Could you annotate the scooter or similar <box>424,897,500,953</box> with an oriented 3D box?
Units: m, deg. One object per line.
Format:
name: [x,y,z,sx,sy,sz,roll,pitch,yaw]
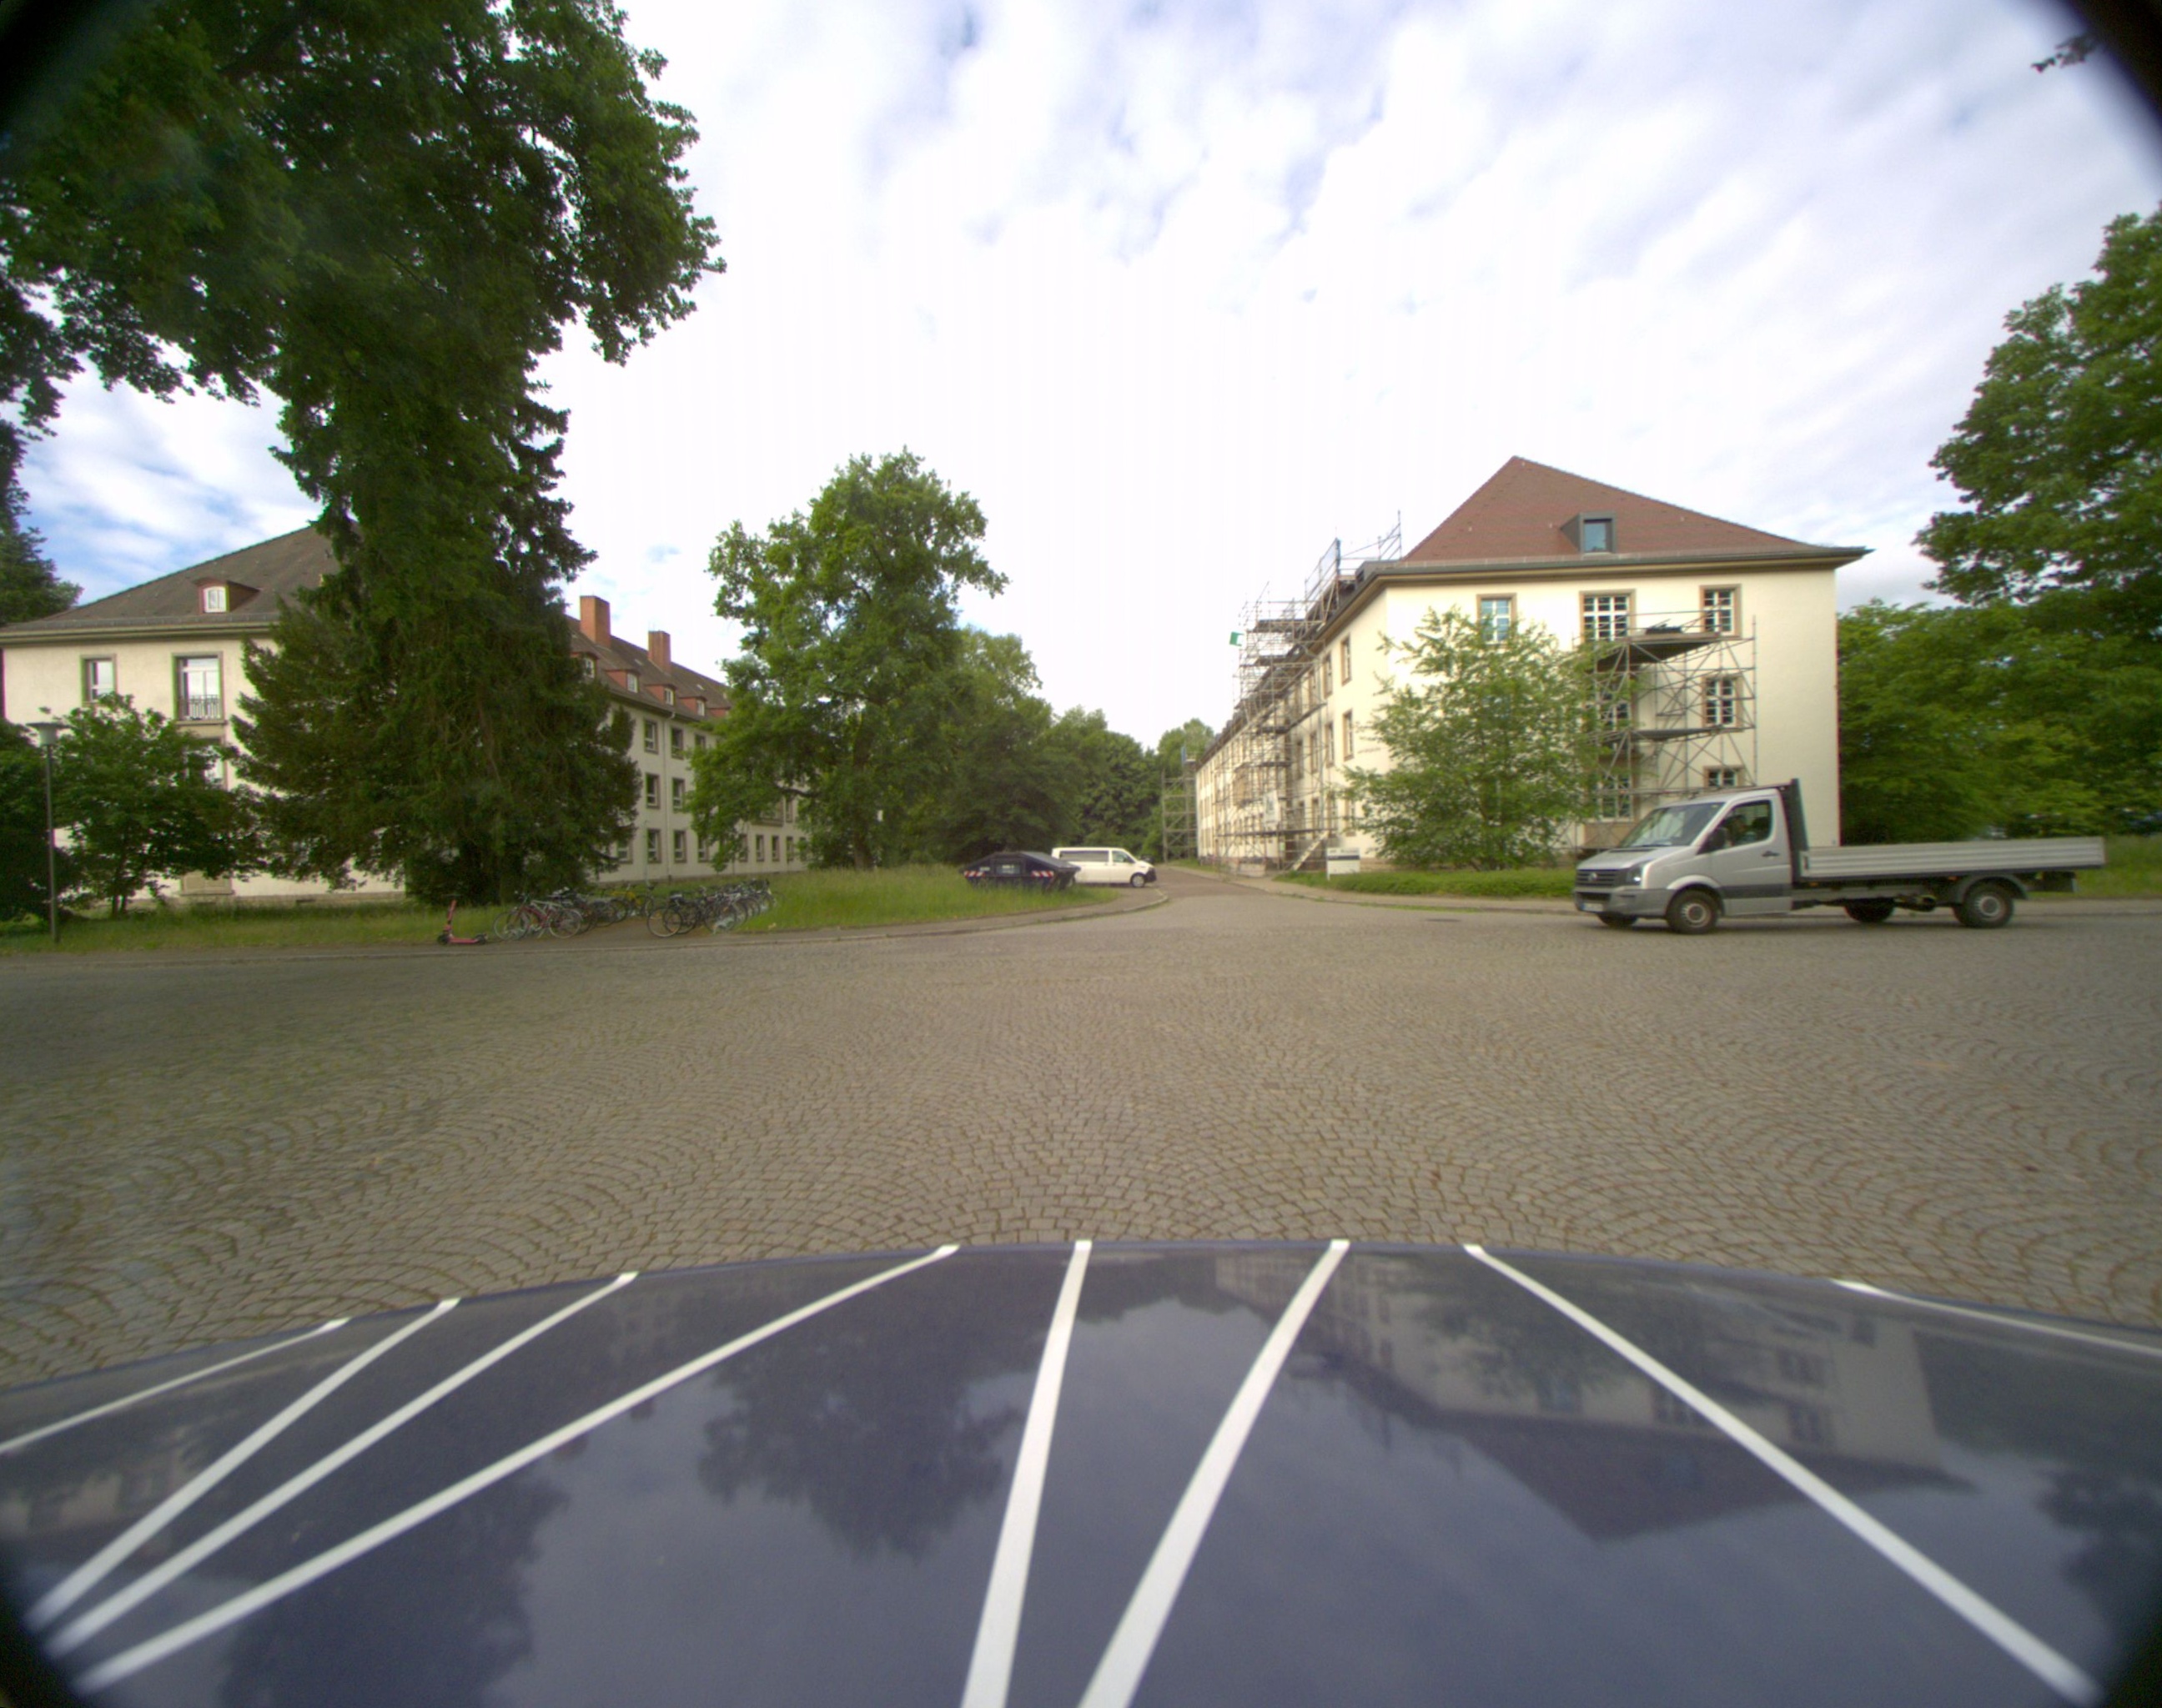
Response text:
scooter or similar: [-13.892,1.586,17.074,1.307,1.163,0.413,-3,1,1]

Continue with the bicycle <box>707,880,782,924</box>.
bicycle: [-10.182,1.437,23.051,1.940,1.163,0.537,-4,1,-14]

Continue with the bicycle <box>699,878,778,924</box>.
bicycle: [-9.799,1.332,21.795,1.941,1.163,0.487,-4,1,-20]

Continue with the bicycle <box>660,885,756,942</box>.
bicycle: [-8.788,1.388,17.972,1.942,1.163,0.487,-4,1,-25]

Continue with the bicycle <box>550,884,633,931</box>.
bicycle: [-13.689,1.485,21.288,1.862,1.163,0.487,-3,1,-26]

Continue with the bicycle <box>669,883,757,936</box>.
bicycle: [-9.413,1.414,19.531,1.941,1.163,0.487,-4,1,-23]

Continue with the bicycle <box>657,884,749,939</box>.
bicycle: [-9.378,1.416,18.916,1.941,1.163,0.487,-4,1,-23]

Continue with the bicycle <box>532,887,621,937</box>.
bicycle: [-13.159,1.502,19.874,1.862,1.163,0.487,-3,1,-26]

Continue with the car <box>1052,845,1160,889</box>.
car: [1.240,0.618,37.329,5.148,2.002,2.000,-1,1,2]

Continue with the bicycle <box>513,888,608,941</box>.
bicycle: [-13.046,1.501,19.101,1.861,1.163,0.487,-3,1,-19]

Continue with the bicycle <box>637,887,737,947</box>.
bicycle: [-8.928,1.401,17.300,1.942,1.163,0.487,-4,1,-25]

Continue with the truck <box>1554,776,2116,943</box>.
truck: [12.078,0.109,12.596,7.081,2.352,1.994,-2,0,2]

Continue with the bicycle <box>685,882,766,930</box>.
bicycle: [-9.889,1.431,21.187,1.941,1.163,0.487,-4,1,-20]

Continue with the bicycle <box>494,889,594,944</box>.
bicycle: [-12.949,1.499,18.385,1.861,1.163,0.487,-3,1,-23]

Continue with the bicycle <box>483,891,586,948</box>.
bicycle: [-12.771,1.518,17.810,1.861,1.163,0.487,-3,1,-23]

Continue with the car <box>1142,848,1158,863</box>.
car: [9.381,0.210,103.482,1.962,2.002,4.260,-1,1,1]

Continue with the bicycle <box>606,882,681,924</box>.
bicycle: [-12.863,1.432,22.385,1.859,1.163,0.488,0,0,-7]

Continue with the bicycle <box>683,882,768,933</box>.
bicycle: [-9.478,1.413,20.314,1.941,1.163,0.487,-4,1,-20]
